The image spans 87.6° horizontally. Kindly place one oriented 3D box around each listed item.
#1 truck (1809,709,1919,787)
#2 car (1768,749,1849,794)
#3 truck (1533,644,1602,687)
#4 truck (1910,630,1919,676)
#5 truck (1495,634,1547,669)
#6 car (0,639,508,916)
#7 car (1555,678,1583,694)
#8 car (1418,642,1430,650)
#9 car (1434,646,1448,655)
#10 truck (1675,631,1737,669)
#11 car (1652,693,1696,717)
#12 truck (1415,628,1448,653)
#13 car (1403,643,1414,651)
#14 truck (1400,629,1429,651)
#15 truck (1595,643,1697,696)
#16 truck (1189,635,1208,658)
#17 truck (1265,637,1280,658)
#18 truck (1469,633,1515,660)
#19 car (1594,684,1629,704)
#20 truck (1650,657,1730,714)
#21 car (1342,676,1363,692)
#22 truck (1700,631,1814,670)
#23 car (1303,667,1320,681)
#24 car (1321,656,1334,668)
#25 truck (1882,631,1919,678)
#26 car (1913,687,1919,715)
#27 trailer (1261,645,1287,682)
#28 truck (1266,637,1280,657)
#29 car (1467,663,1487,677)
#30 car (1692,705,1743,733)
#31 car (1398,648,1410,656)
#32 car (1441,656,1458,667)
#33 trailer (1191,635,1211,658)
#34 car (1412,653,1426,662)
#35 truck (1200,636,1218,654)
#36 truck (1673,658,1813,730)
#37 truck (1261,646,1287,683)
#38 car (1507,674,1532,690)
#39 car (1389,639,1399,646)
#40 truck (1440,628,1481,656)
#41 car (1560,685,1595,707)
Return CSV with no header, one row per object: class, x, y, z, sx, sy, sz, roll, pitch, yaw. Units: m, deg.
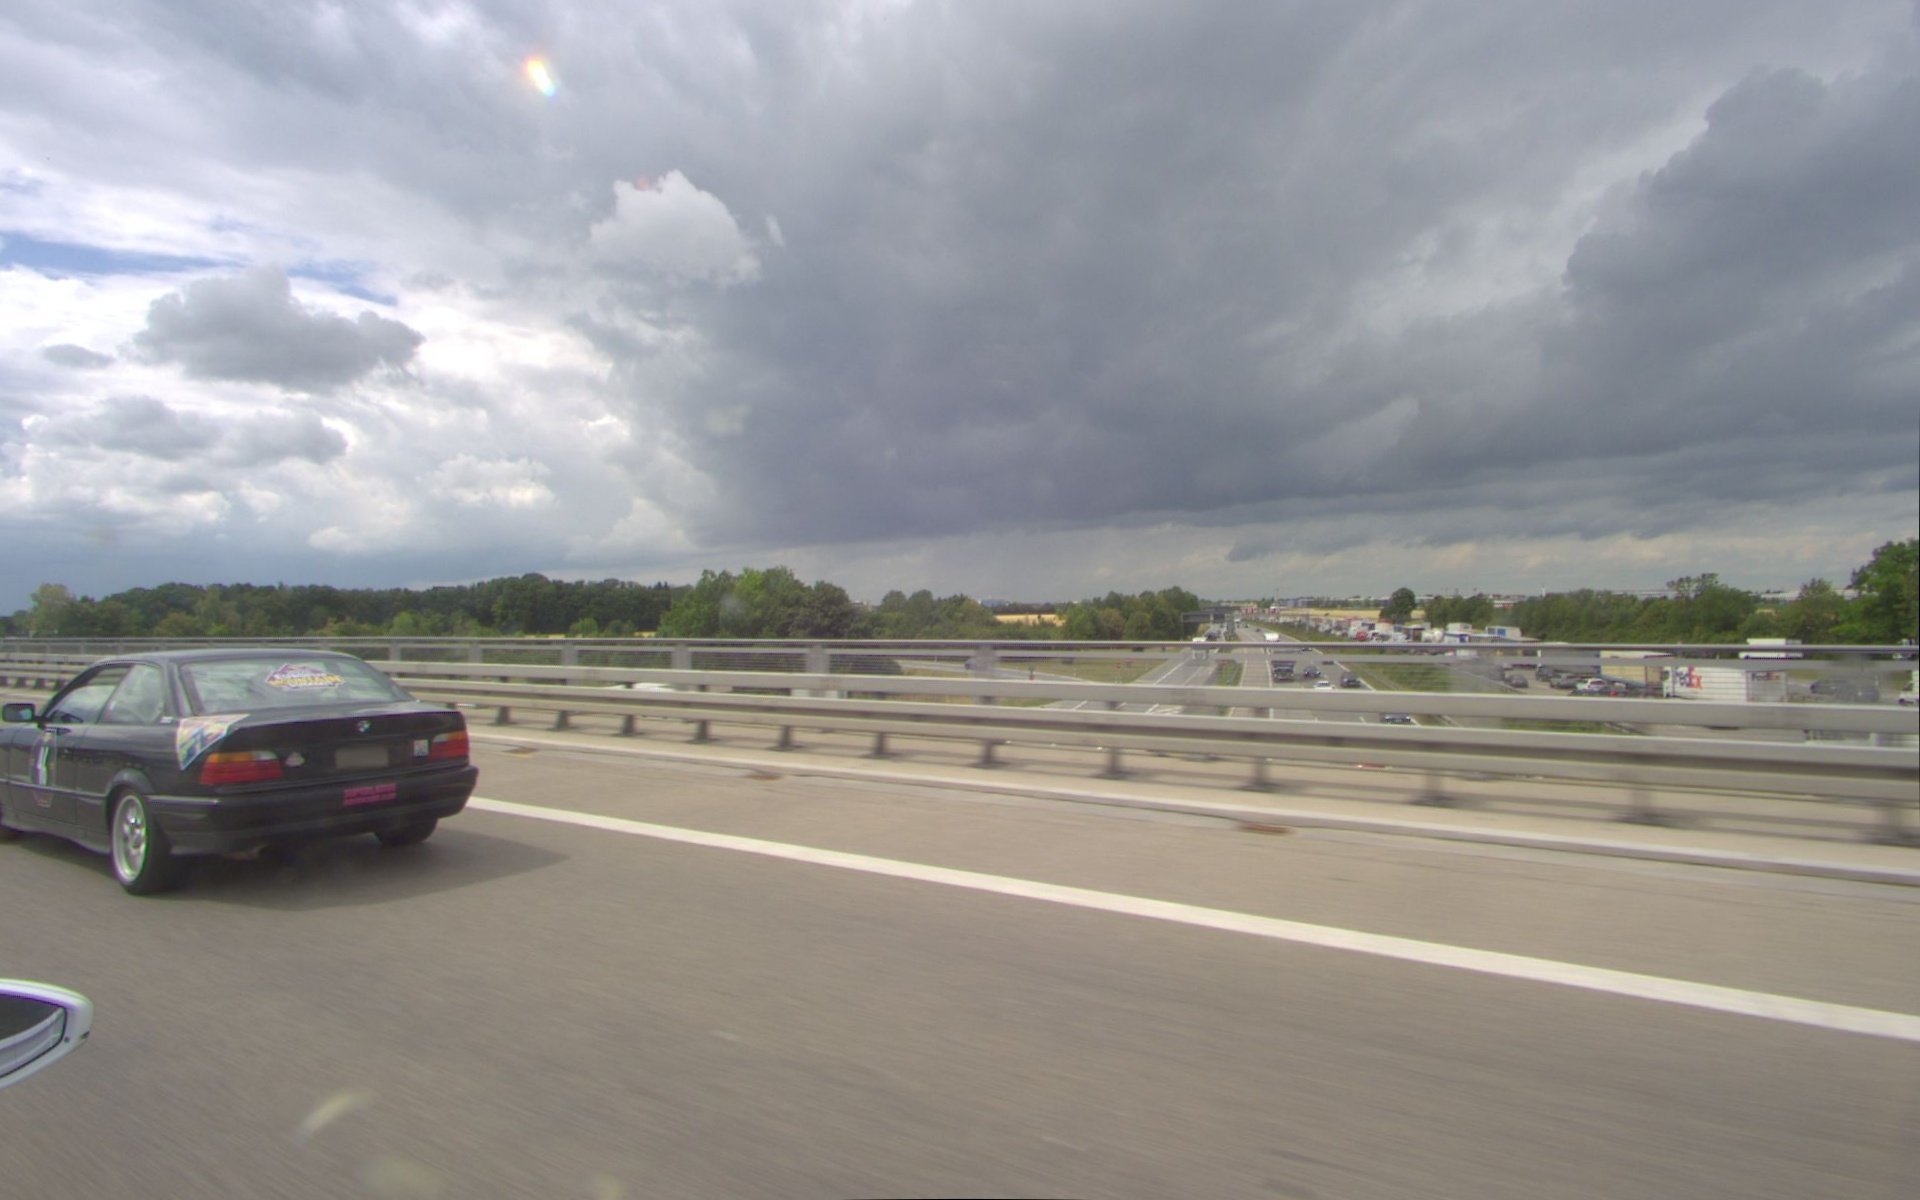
truck,48.280,7.722,53.166,2.192,3.238,7.557,0,-1,18
car,42.155,8.474,49.872,1.643,1.576,3.994,0,-1,18
truck,73.555,7.814,121.662,3.937,4.612,14.864,0,-2,19
truck,115.819,6.046,111.042,3.801,5.281,14.802,1,-2,-25
truck,80.292,7.295,143.662,3.938,4.612,15.282,0,-2,19
car,-5.137,0.953,6.883,4.305,1.297,1.700,0,-2,34
car,65.284,9.183,107.382,1.707,1.505,3.994,0,-1,19
car,91.462,9.080,197.467,1.707,1.505,3.995,0,-1,17
car,86.525,9.133,180.106,1.707,1.505,3.995,0,-1,17
truck,107.818,7.232,144.887,3.785,5.381,6.443,0,-2,-8
car,56.698,8.309,79.573,1.707,1.505,3.994,0,-1,19
truck,99.212,8.431,210.988,4.012,4.883,15.339,0,-2,16
car,96.776,10.139,215.900,1.707,1.505,3.995,0,-1,17
truck,105.772,9.168,233.302,4.012,4.883,15.339,0,-2,16
truck,68.317,6.770,100.327,3.936,4.612,16.345,0,-2,18
truck,44.506,8.702,187.022,2.936,4.152,6.521,0,-1,18
truck,62.680,9.380,201.051,2.451,3.727,13.124,0,0,16
truck,86.525,7.492,163.263,4.069,4.083,14.875,0,-2,18
car,60.632,8.738,93.233,1.707,1.505,3.994,0,-1,18
truck,63.356,7.361,87.087,3.862,4.568,6.285,0,-2,18
car,44.369,9.491,113.231,1.965,1.638,3.995,0,-3,19
truck,109.100,6.823,137.473,3.878,5.105,12.995,1,-1,-10
car,46.197,9.668,131.654,1.965,1.639,3.994,0,-1,19
car,58.862,9.930,160.473,1.965,1.639,3.994,0,-1,19
truck,112.873,6.350,117.160,3.798,5.381,6.422,1,-2,-24
car,73.895,7.688,74.643,2.143,2.039,4.669,0,-1,14
trailer,41.477,8.189,131.872,3.076,4.341,13.933,0,-1,18
truck,60.944,9.103,194.815,2.451,3.727,5.160,0,0,16
car,68.898,9.343,133.477,1.643,1.576,3.994,0,-1,18
car,54.664,8.551,72.345,1.643,1.576,3.994,0,-1,18
car,87.453,10.190,197.324,1.707,1.505,3.995,0,-1,17
car,73.372,9.274,150.227,1.707,1.505,3.994,0,-1,18
trailer,46.753,8.926,194.053,2.936,4.152,14.231,0,-1,17
car,81.724,10.193,178.183,1.707,1.505,3.995,0,-1,17
truck,62.686,11.233,251.747,3.921,4.111,19.031,-1,-2,15
truck,60.477,7.076,77.993,3.936,4.612,13.775,0,-2,17
truck,39.131,7.991,124.691,3.076,4.341,5.605,0,-1,18
car,62.705,9.145,112.207,1.707,1.505,3.994,0,-1,18
car,101.068,9.873,233.442,1.707,1.505,3.995,0,-1,17
truck,91.452,7.567,183.433,4.011,4.883,14.475,0,-2,16
car,54.074,8.384,87.756,1.643,1.576,3.994,0,-1,18
